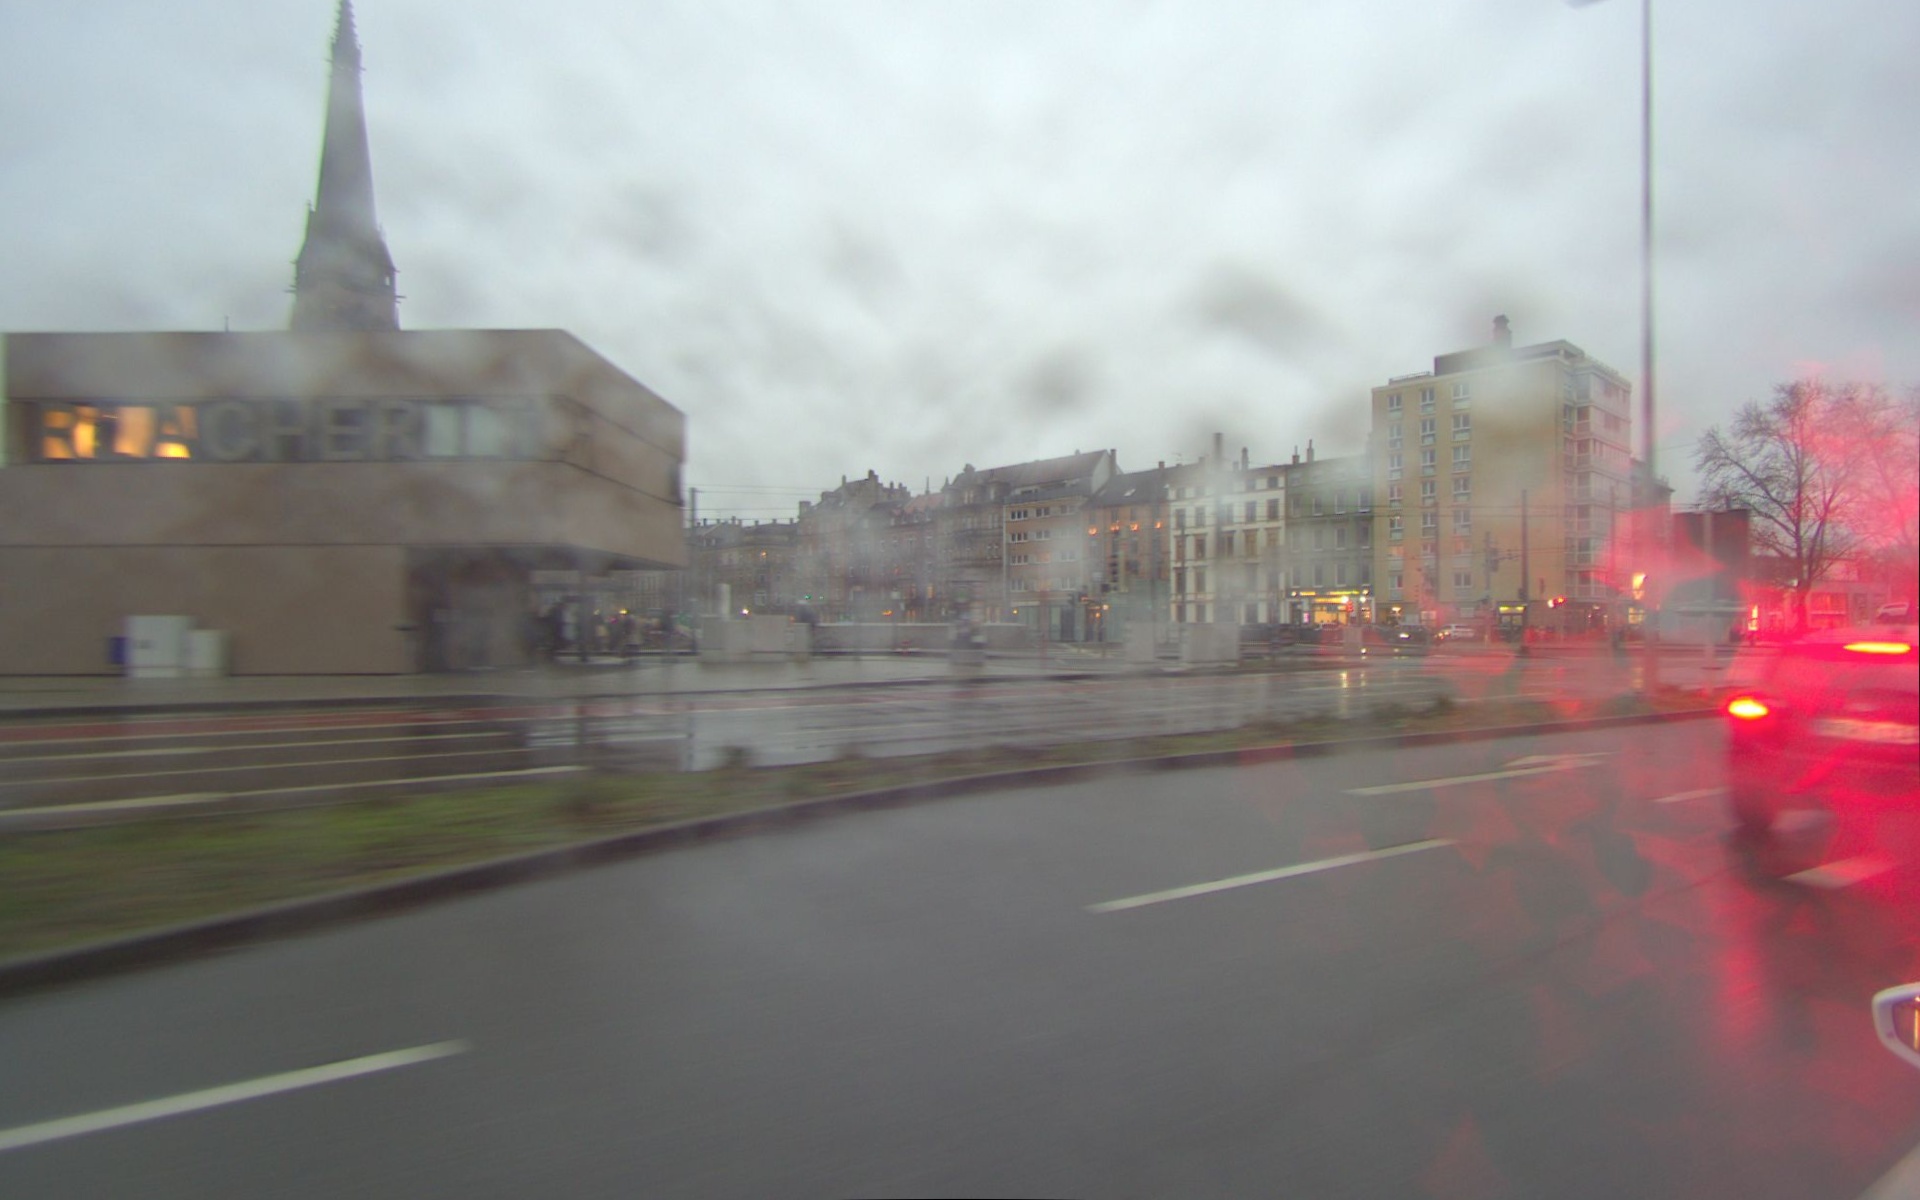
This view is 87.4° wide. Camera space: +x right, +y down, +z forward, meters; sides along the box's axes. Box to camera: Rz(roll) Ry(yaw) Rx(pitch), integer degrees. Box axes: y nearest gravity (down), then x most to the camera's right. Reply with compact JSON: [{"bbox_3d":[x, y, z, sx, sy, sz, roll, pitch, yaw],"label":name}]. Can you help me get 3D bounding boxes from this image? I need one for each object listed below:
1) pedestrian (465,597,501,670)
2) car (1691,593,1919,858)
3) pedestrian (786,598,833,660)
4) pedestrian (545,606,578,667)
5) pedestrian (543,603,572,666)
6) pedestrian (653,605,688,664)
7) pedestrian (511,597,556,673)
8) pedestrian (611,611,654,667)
[{"bbox_3d":[-11.702,0.817,24.672,0.732,1.749,0.739,0,-2,-20],"label":"pedestrian"},{"bbox_3d":[6.966,0.754,7.144,3.833,1.502,1.689,1,1,-35],"label":"car"},{"bbox_3d":[-4.867,0.943,32.502,1.046,1.944,1.119,-1,-2,37],"label":"pedestrian"},{"bbox_3d":[-11.697,1.062,29.483,0.736,1.749,0.735,1,-2,-35],"label":"pedestrian"},{"bbox_3d":[-11.320,0.957,28.259,0.732,1.749,0.739,0,-2,-20],"label":"pedestrian"},{"bbox_3d":[-8.897,1.059,30.869,0.790,1.774,0.758,-2,-2,44],"label":"pedestrian"},{"bbox_3d":[-10.372,0.848,24.408,0.653,1.791,0.828,-2,-2,45],"label":"pedestrian"},{"bbox_3d":[-9.608,1.143,29.492,0.946,1.624,0.856,0,-1,1],"label":"pedestrian"}]
